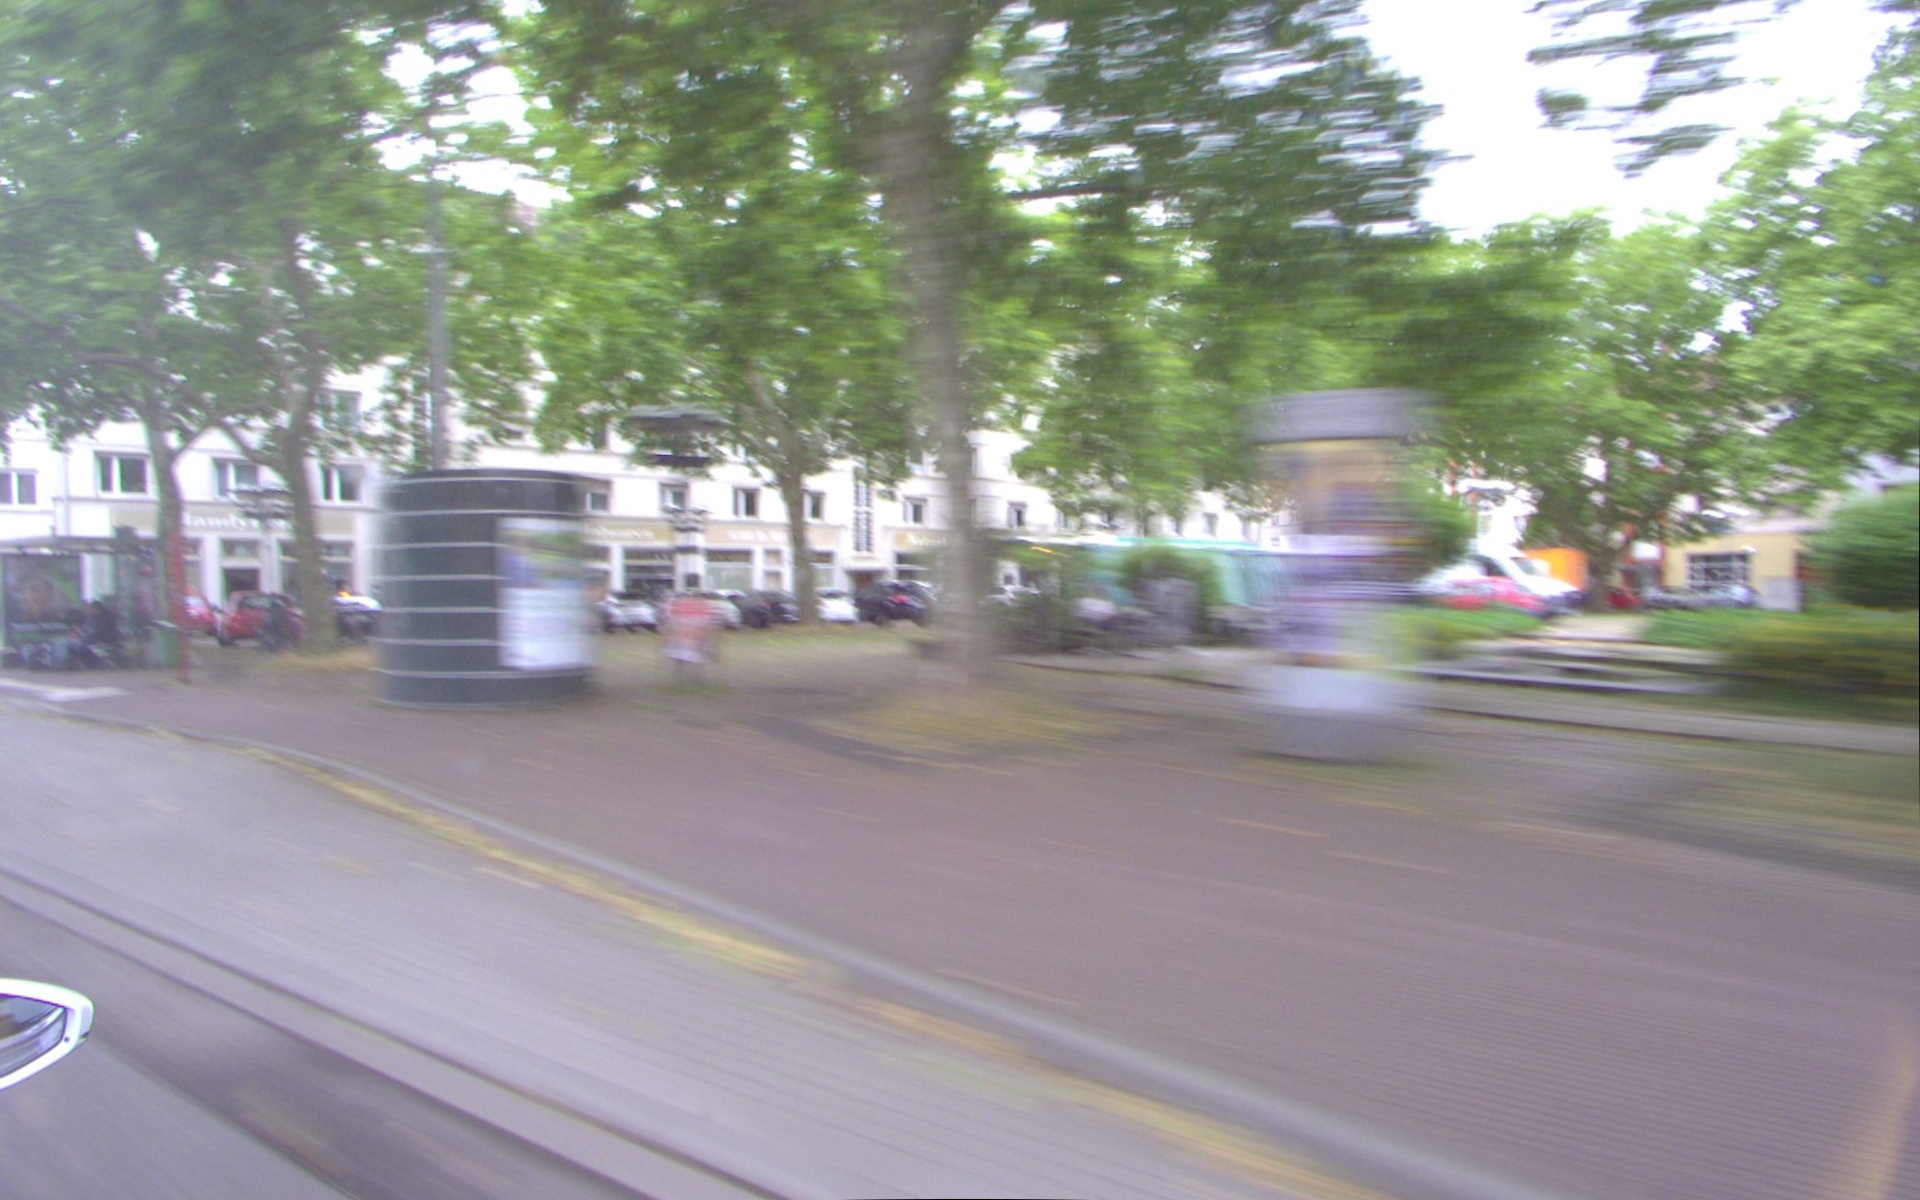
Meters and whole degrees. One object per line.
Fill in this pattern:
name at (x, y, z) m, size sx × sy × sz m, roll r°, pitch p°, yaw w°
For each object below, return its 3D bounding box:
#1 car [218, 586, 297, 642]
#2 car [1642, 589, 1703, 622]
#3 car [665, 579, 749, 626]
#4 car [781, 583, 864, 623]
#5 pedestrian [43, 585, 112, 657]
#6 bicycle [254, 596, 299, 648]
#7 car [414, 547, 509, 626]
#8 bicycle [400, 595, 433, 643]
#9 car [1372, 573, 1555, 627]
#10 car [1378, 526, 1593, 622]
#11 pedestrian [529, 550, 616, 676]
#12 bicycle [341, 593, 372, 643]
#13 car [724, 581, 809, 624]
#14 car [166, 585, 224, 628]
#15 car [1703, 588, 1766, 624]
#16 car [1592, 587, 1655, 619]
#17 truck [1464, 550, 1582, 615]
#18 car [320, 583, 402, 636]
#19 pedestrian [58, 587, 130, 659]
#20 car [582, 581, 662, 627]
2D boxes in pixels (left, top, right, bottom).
car at (-19.693, 0.331, 27.993) m, size 1.502 × 1.448 × 3.966 m, roll -1°, pitch 1°, yaw -39°
car at (35.987, 0.251, 50.557) m, size 3.768 × 1.644 × 1.501 m, roll -1°, pitch 1°, yaw -38°
car at (-8.892, 0.046, 34.979) m, size 1.777 × 1.536 × 3.803 m, roll -1°, pitch 1°, yaw -32°
car at (-5.329, 0.086, 38.401) m, size 1.777 × 1.460 × 3.803 m, roll -1°, pitch 1°, yaw -32°
pedestrian at (-17.393, 0.398, 19.744) m, size 0.751 × 1.390 × 0.816 m, roll 1°, pitch 2°, yaw 32°
bicycle at (-16.321, 0.495, 23.961) m, size 0.770 × 1.183 × 2.318 m, roll -1°, pitch 1°, yaw -32°
car at (-15.276, -0.417, 30.599) m, size 2.152 × 2.230 × 3.974 m, roll -1°, pitch 1°, yaw -33°
bicycle at (-14.242, 0.473, 26.226) m, size 0.615 × 1.184 × 2.318 m, roll -1°, pitch 1°, yaw -32°
car at (14.013, -0.043, 28.101) m, size 1.716 × 1.418 × 4.261 m, roll -1°, pitch 1°, yaw -38°
car at (15.948, -0.773, 30.704) m, size 2.215 × 2.675 × 5.403 m, roll -1°, pitch 2°, yaw -38°
pedestrian at (-5.679, 0.176, 14.695) m, size 0.911 × 1.767 × 0.782 m, roll 1°, pitch 2°, yaw 31°
bicycle at (-15.117, 0.422, 25.079) m, size 0.615 × 1.184 × 2.318 m, roll -1°, pitch 1°, yaw -32°
car at (-7.030, 0.050, 36.131) m, size 1.777 × 1.460 × 3.803 m, roll -1°, pitch 1°, yaw -32°
car at (-27.258, 0.189, 35.642) m, size 1.502 × 1.448 × 3.966 m, roll -1°, pitch 1°, yaw -39°
car at (37.522, 0.266, 48.507) m, size 3.768 × 1.644 × 1.501 m, roll -1°, pitch 1°, yaw -38°
car at (35.125, 0.151, 52.967) m, size 3.764 × 1.644 × 1.502 m, roll -1°, pitch 1°, yaw -35°
truck at (23.935, -0.742, 42.628) m, size 3.954 × 2.626 × 2.367 m, roll 1°, pitch 2°, yaw 41°
car at (-17.644, 0.235, 29.413) m, size 1.502 × 1.448 × 3.966 m, roll -1°, pitch 1°, yaw -39°
pedestrian at (-16.670, 0.424, 19.289) m, size 0.751 × 1.332 × 0.851 m, roll 1°, pitch 2°, yaw 32°
car at (-11.609, 0.103, 34.288) m, size 1.777 × 1.460 × 3.803 m, roll -1°, pitch 1°, yaw -32°
